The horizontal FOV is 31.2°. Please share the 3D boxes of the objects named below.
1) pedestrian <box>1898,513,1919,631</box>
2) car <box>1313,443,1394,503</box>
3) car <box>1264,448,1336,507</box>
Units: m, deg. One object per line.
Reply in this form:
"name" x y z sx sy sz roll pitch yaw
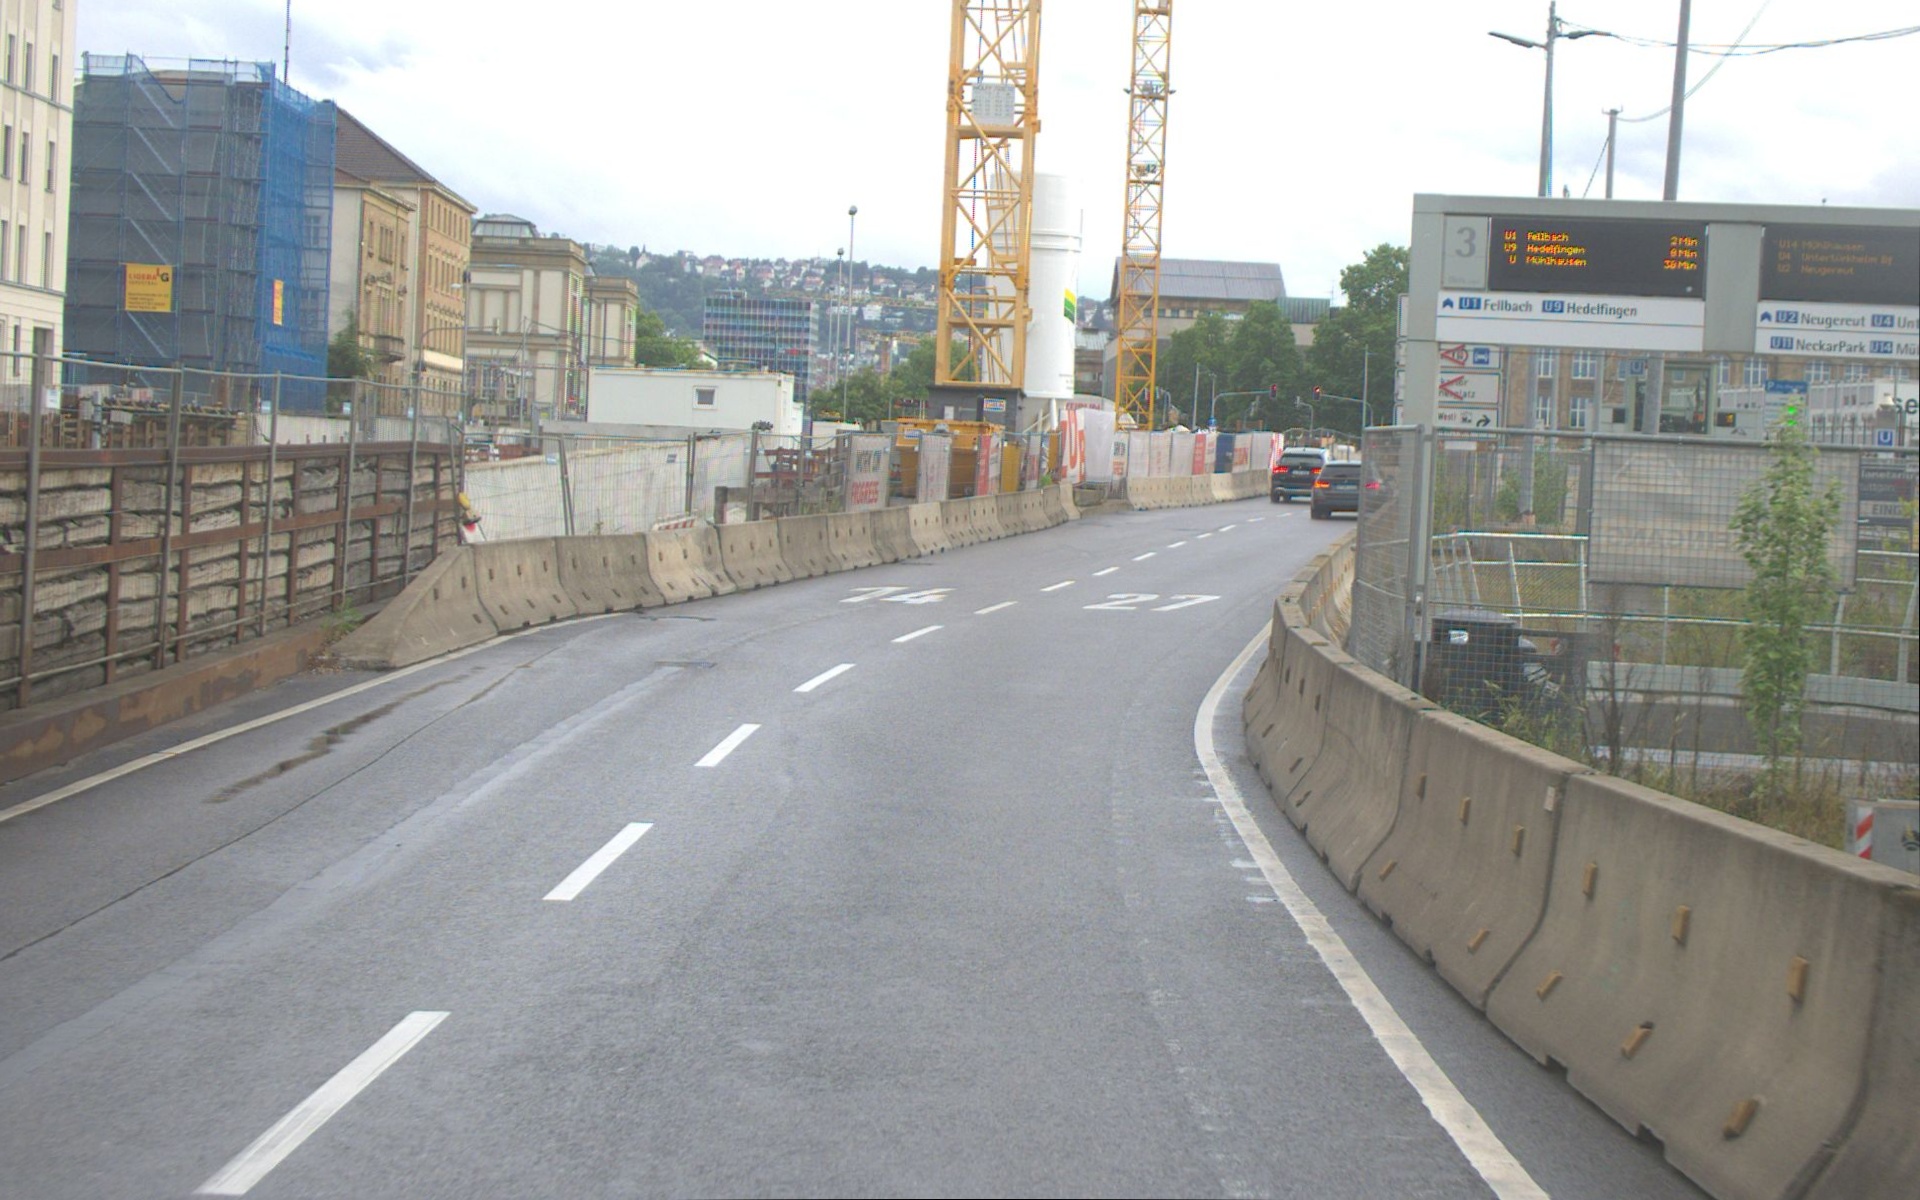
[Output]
"pedestrian" 14.028 -0.383 48.710 1.019 1.652 0.900 1 2 -21
"car" 9.712 -3.110 84.666 1.863 1.428 4.655 1 2 8
"car" 10.276 -3.705 103.705 1.863 1.655 4.655 3 3 8
